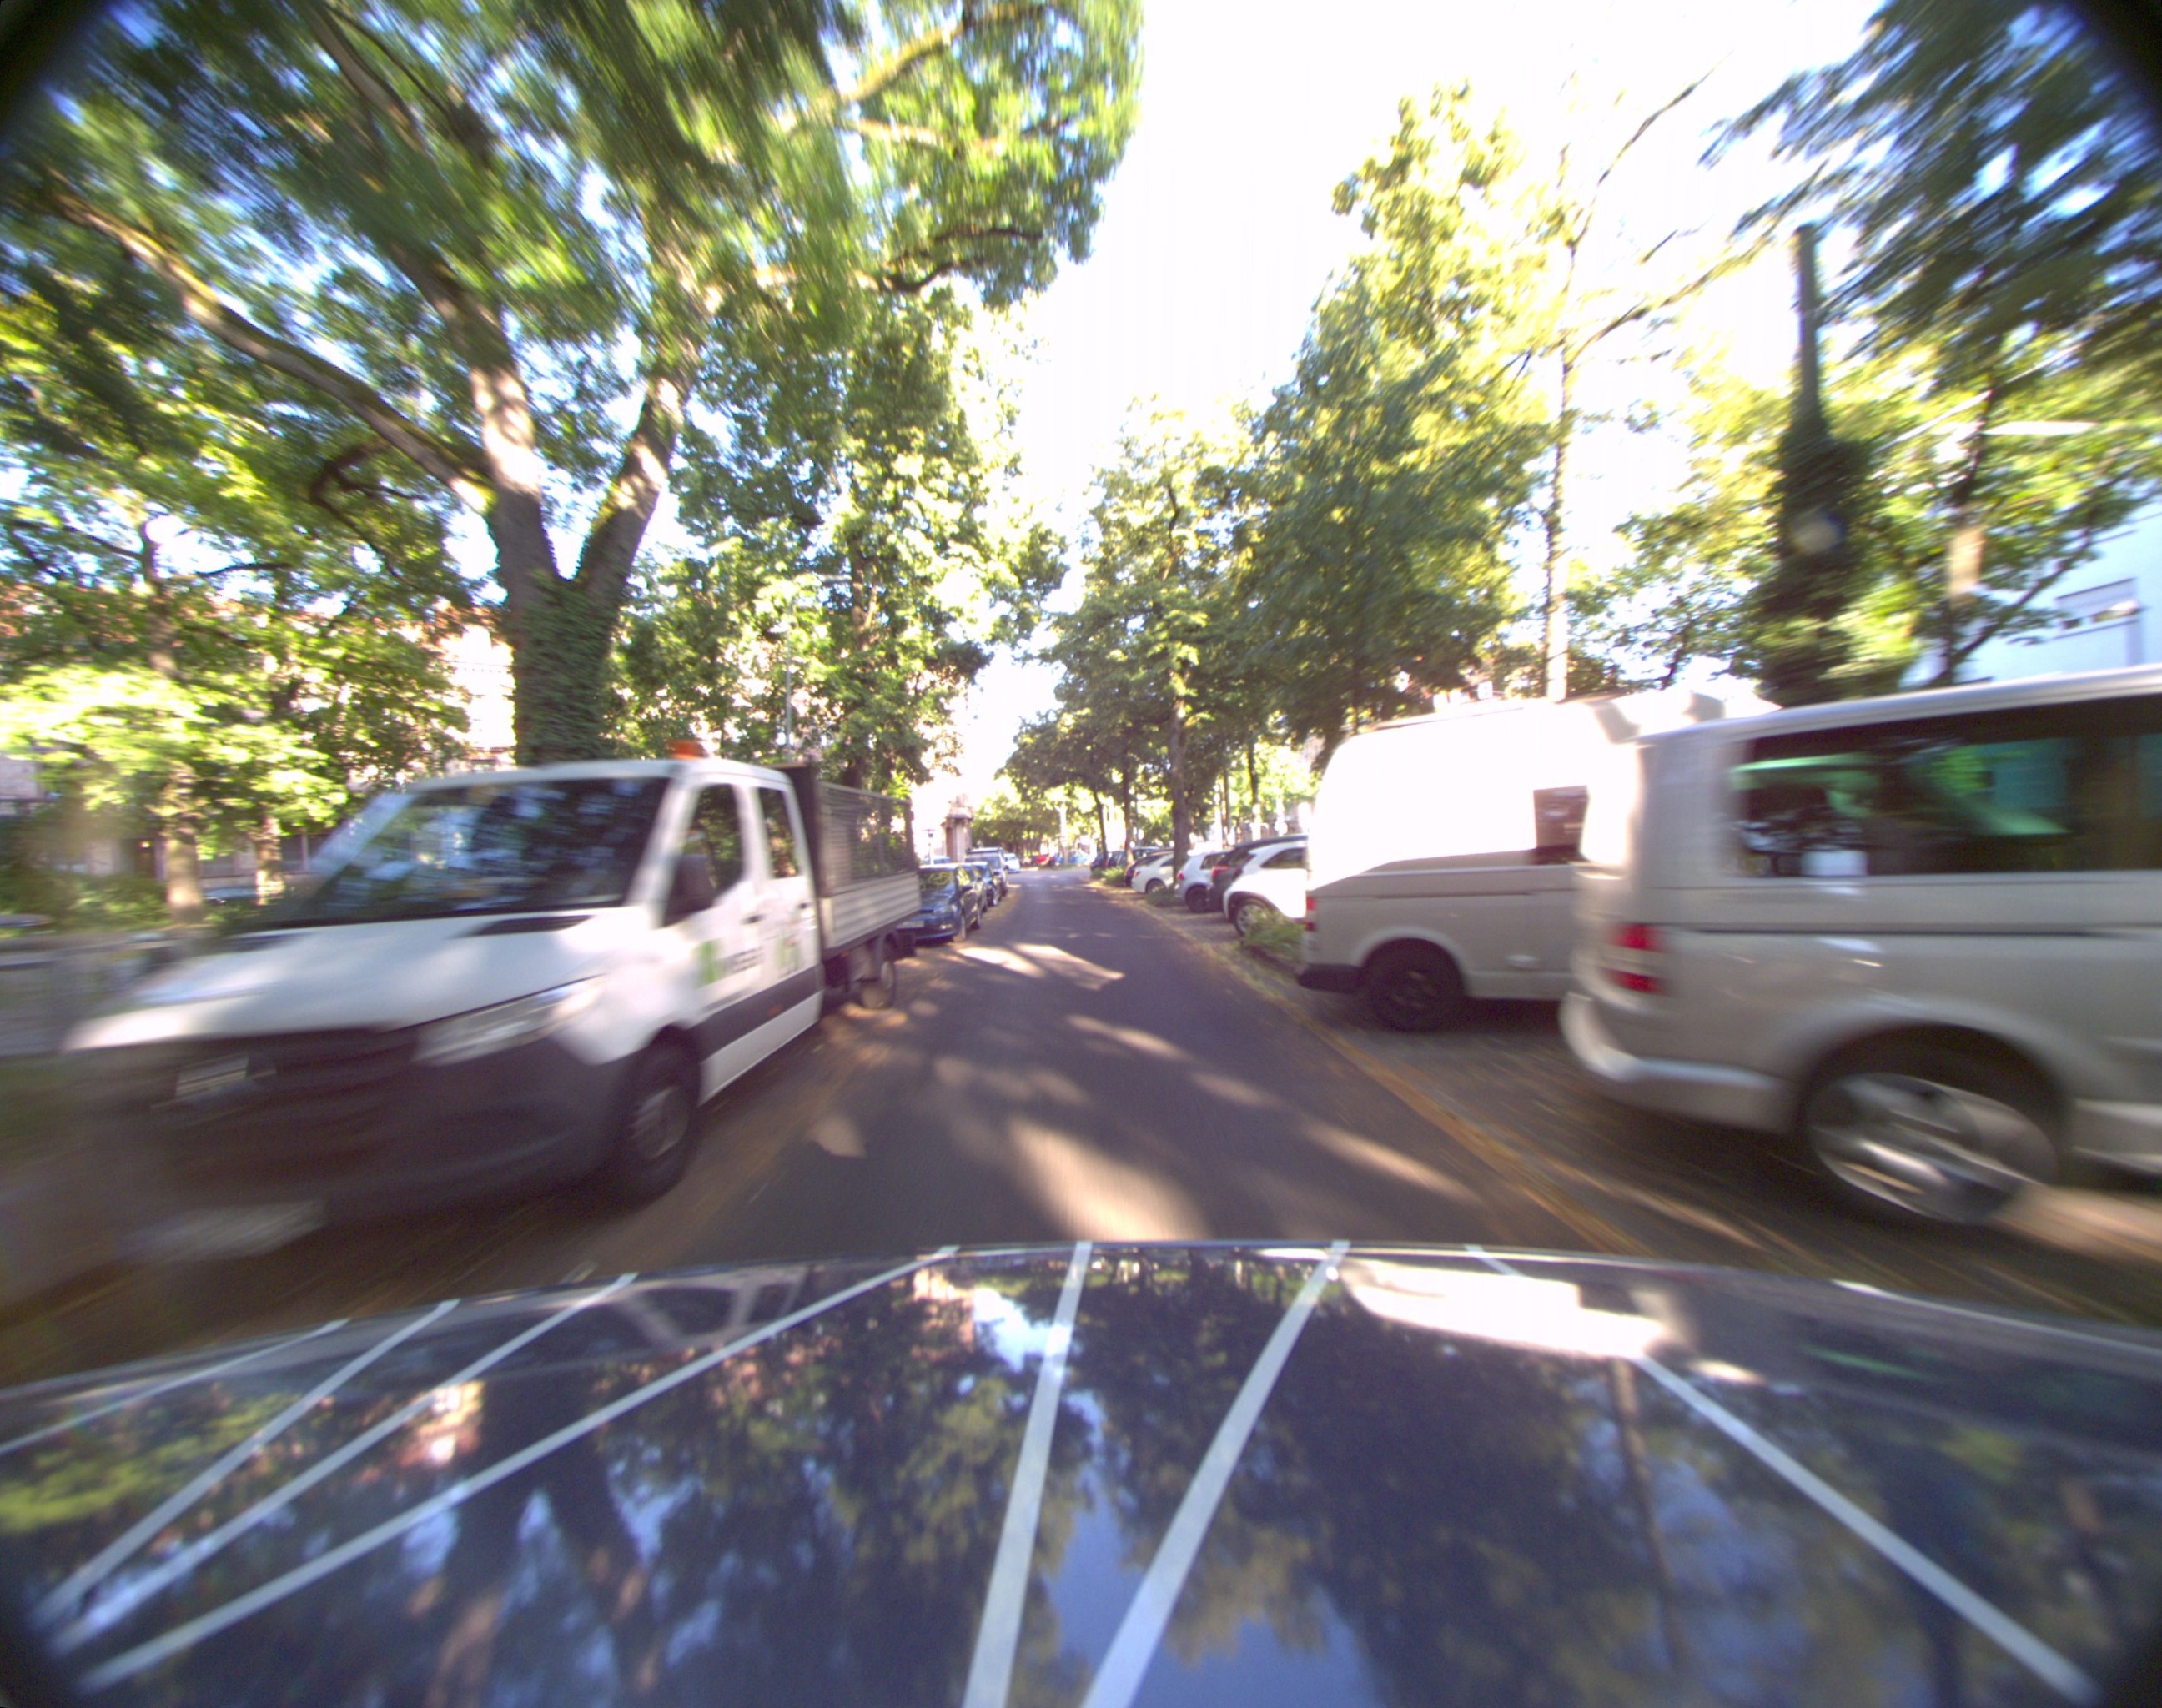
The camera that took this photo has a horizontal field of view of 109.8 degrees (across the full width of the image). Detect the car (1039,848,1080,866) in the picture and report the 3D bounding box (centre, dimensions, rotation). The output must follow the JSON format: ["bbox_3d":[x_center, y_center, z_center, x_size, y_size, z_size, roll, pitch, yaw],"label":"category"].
[{"bbox_3d":[-2.451,0.335,86.363,4.235,1.658,1.636,-5,2,18],"label":"car"}]

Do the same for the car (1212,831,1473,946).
[{"bbox_3d":[4.177,0.564,12.177,3.542,1.485,1.828,-5,1,31],"label":"car"}]

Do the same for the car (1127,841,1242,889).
[{"bbox_3d":[4.077,0.420,29.716,3.992,1.503,1.962,-5,0,22],"label":"car"}]

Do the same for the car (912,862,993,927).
[{"bbox_3d":[-3.391,1.012,20.702,1.677,1.450,3.892,-3,1,-3],"label":"car"}]

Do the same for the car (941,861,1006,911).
[{"bbox_3d":[-3.481,0.987,25.250,1.677,1.382,4.264,-3,1,-3],"label":"car"}]

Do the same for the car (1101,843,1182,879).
[{"bbox_3d":[3.124,0.357,38.981,3.687,1.440,1.636,-5,2,24],"label":"car"}]

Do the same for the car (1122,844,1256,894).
[{"bbox_3d":[3.854,0.530,27.067,4.305,1.396,1.747,-5,0,24],"label":"car"}]

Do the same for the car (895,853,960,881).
[{"bbox_3d":[-10.615,0.888,52.698,4.006,1.637,1.681,-3,-2,-32],"label":"car"}]

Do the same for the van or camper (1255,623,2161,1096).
[{"bbox_3d":[4.139,0.149,5.924,4.875,2.456,2.048,-5,1,29],"label":"van or camper"}]

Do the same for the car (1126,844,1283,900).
[{"bbox_3d":[3.909,0.573,24.100,4.456,1.396,1.860,-5,0,27],"label":"car"}]

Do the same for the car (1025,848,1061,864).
[{"bbox_3d":[-5.031,0.246,100.846,4.235,1.658,1.636,-5,2,18],"label":"car"}]

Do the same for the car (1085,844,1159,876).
[{"bbox_3d":[2.402,0.349,44.707,3.889,1.440,1.636,-5,2,24],"label":"car"}]

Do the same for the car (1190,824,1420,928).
[{"bbox_3d":[4.439,0.443,15.042,4.032,1.653,1.859,-5,1,24],"label":"car"}]

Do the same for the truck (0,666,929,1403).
[{"bbox_3d":[-3.114,0.588,5.981,2.301,2.372,6.933,-3,1,0],"label":"truck"}]

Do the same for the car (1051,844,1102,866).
[{"bbox_3d":[-0.459,0.067,72.697,4.434,1.613,1.636,-5,2,18],"label":"car"}]

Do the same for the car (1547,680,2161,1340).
[{"bbox_3d":[4.544,0.354,2.617,4.874,1.966,2.048,-5,1,31],"label":"car"}]

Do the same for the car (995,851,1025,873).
[{"bbox_3d":[-6.061,0.690,64.618,1.942,1.613,4.239,-6,2,-11],"label":"car"}]

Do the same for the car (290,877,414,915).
[{"bbox_3d":[-30.700,1.735,32.121,3.473,1.401,1.795,-1,1,-33],"label":"car"}]

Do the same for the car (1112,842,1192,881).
[{"bbox_3d":[3.371,0.351,36.087,3.346,1.559,1.574,-5,0,26],"label":"car"}]

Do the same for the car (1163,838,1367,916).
[{"bbox_3d":[4.311,0.544,17.848,4.234,1.432,1.859,-5,1,27],"label":"car"}]

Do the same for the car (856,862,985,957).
[{"bbox_3d":[-2.985,0.969,14.897,1.676,1.450,3.892,-3,1,-1],"label":"car"}]

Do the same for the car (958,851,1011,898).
[{"bbox_3d":[-3.816,0.762,30.771,1.792,1.698,4.375,-3,1,-4],"label":"car"}]

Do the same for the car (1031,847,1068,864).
[{"bbox_3d":[-3.907,0.170,95.073,4.235,1.658,1.636,-5,2,18],"label":"car"}]

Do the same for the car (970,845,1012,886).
[{"bbox_3d":[-4.793,0.564,39.971,1.972,1.924,5.451,-3,1,-8],"label":"car"}]
